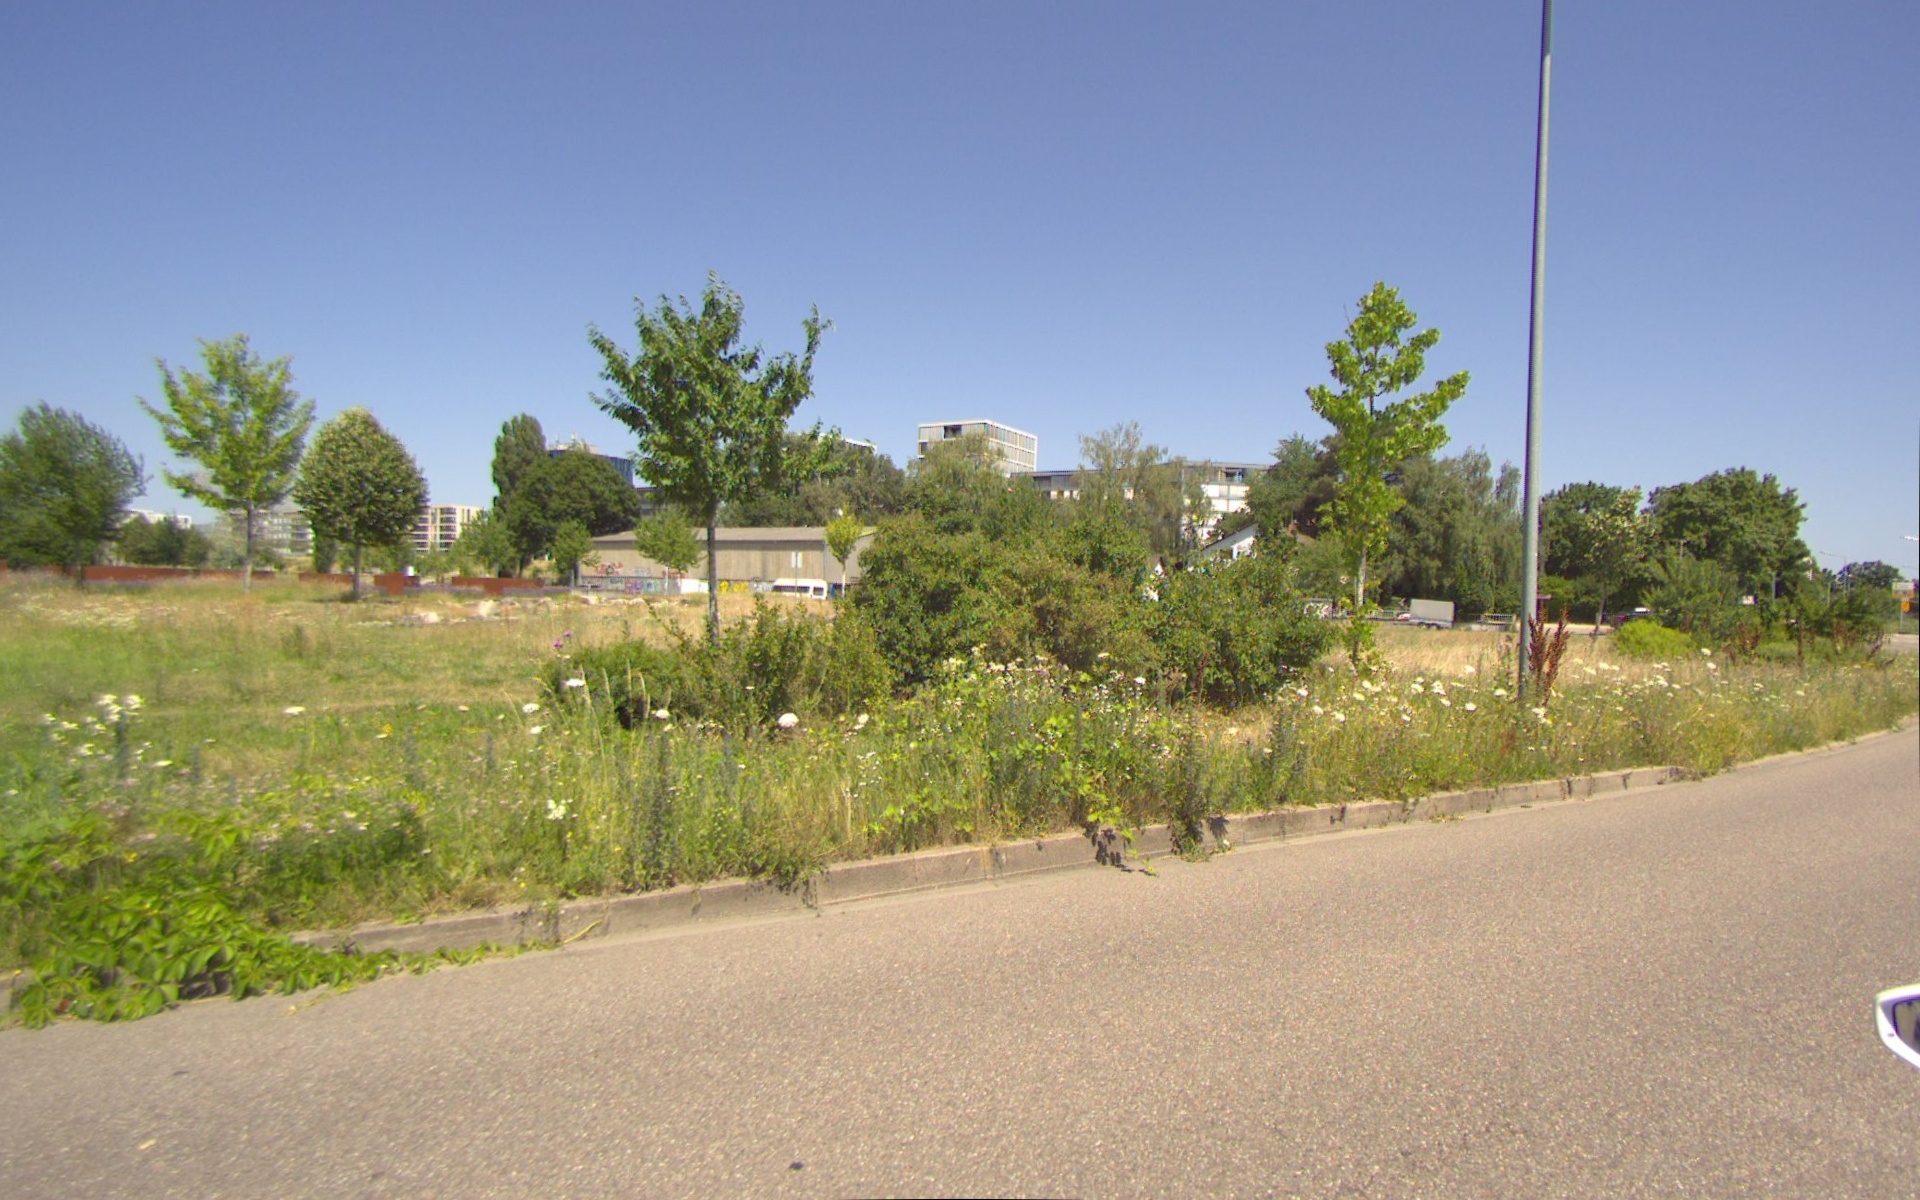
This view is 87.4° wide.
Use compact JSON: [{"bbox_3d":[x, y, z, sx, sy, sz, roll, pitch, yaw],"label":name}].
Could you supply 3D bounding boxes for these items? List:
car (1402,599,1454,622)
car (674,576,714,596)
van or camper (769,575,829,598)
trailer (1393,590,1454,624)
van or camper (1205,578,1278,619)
[{"bbox_3d":[34.752,0.778,74.636,3.288,1.598,1.768,2,1,33],"label":"car"},{"bbox_3d":[-26.285,-1.400,99.303,3.515,1.795,1.754,2,1,29],"label":"car"},{"bbox_3d":[-14.765,-1.210,91.909,4.967,1.905,2.354,2,1,29],"label":"van or camper"},{"bbox_3d":[30.348,0.452,65.749,3.365,2.073,1.756,2,1,32],"label":"trailer"},{"bbox_3d":[20.073,-0.105,71.646,4.388,2.626,2.486,4,2,32],"label":"van or camper"}]
